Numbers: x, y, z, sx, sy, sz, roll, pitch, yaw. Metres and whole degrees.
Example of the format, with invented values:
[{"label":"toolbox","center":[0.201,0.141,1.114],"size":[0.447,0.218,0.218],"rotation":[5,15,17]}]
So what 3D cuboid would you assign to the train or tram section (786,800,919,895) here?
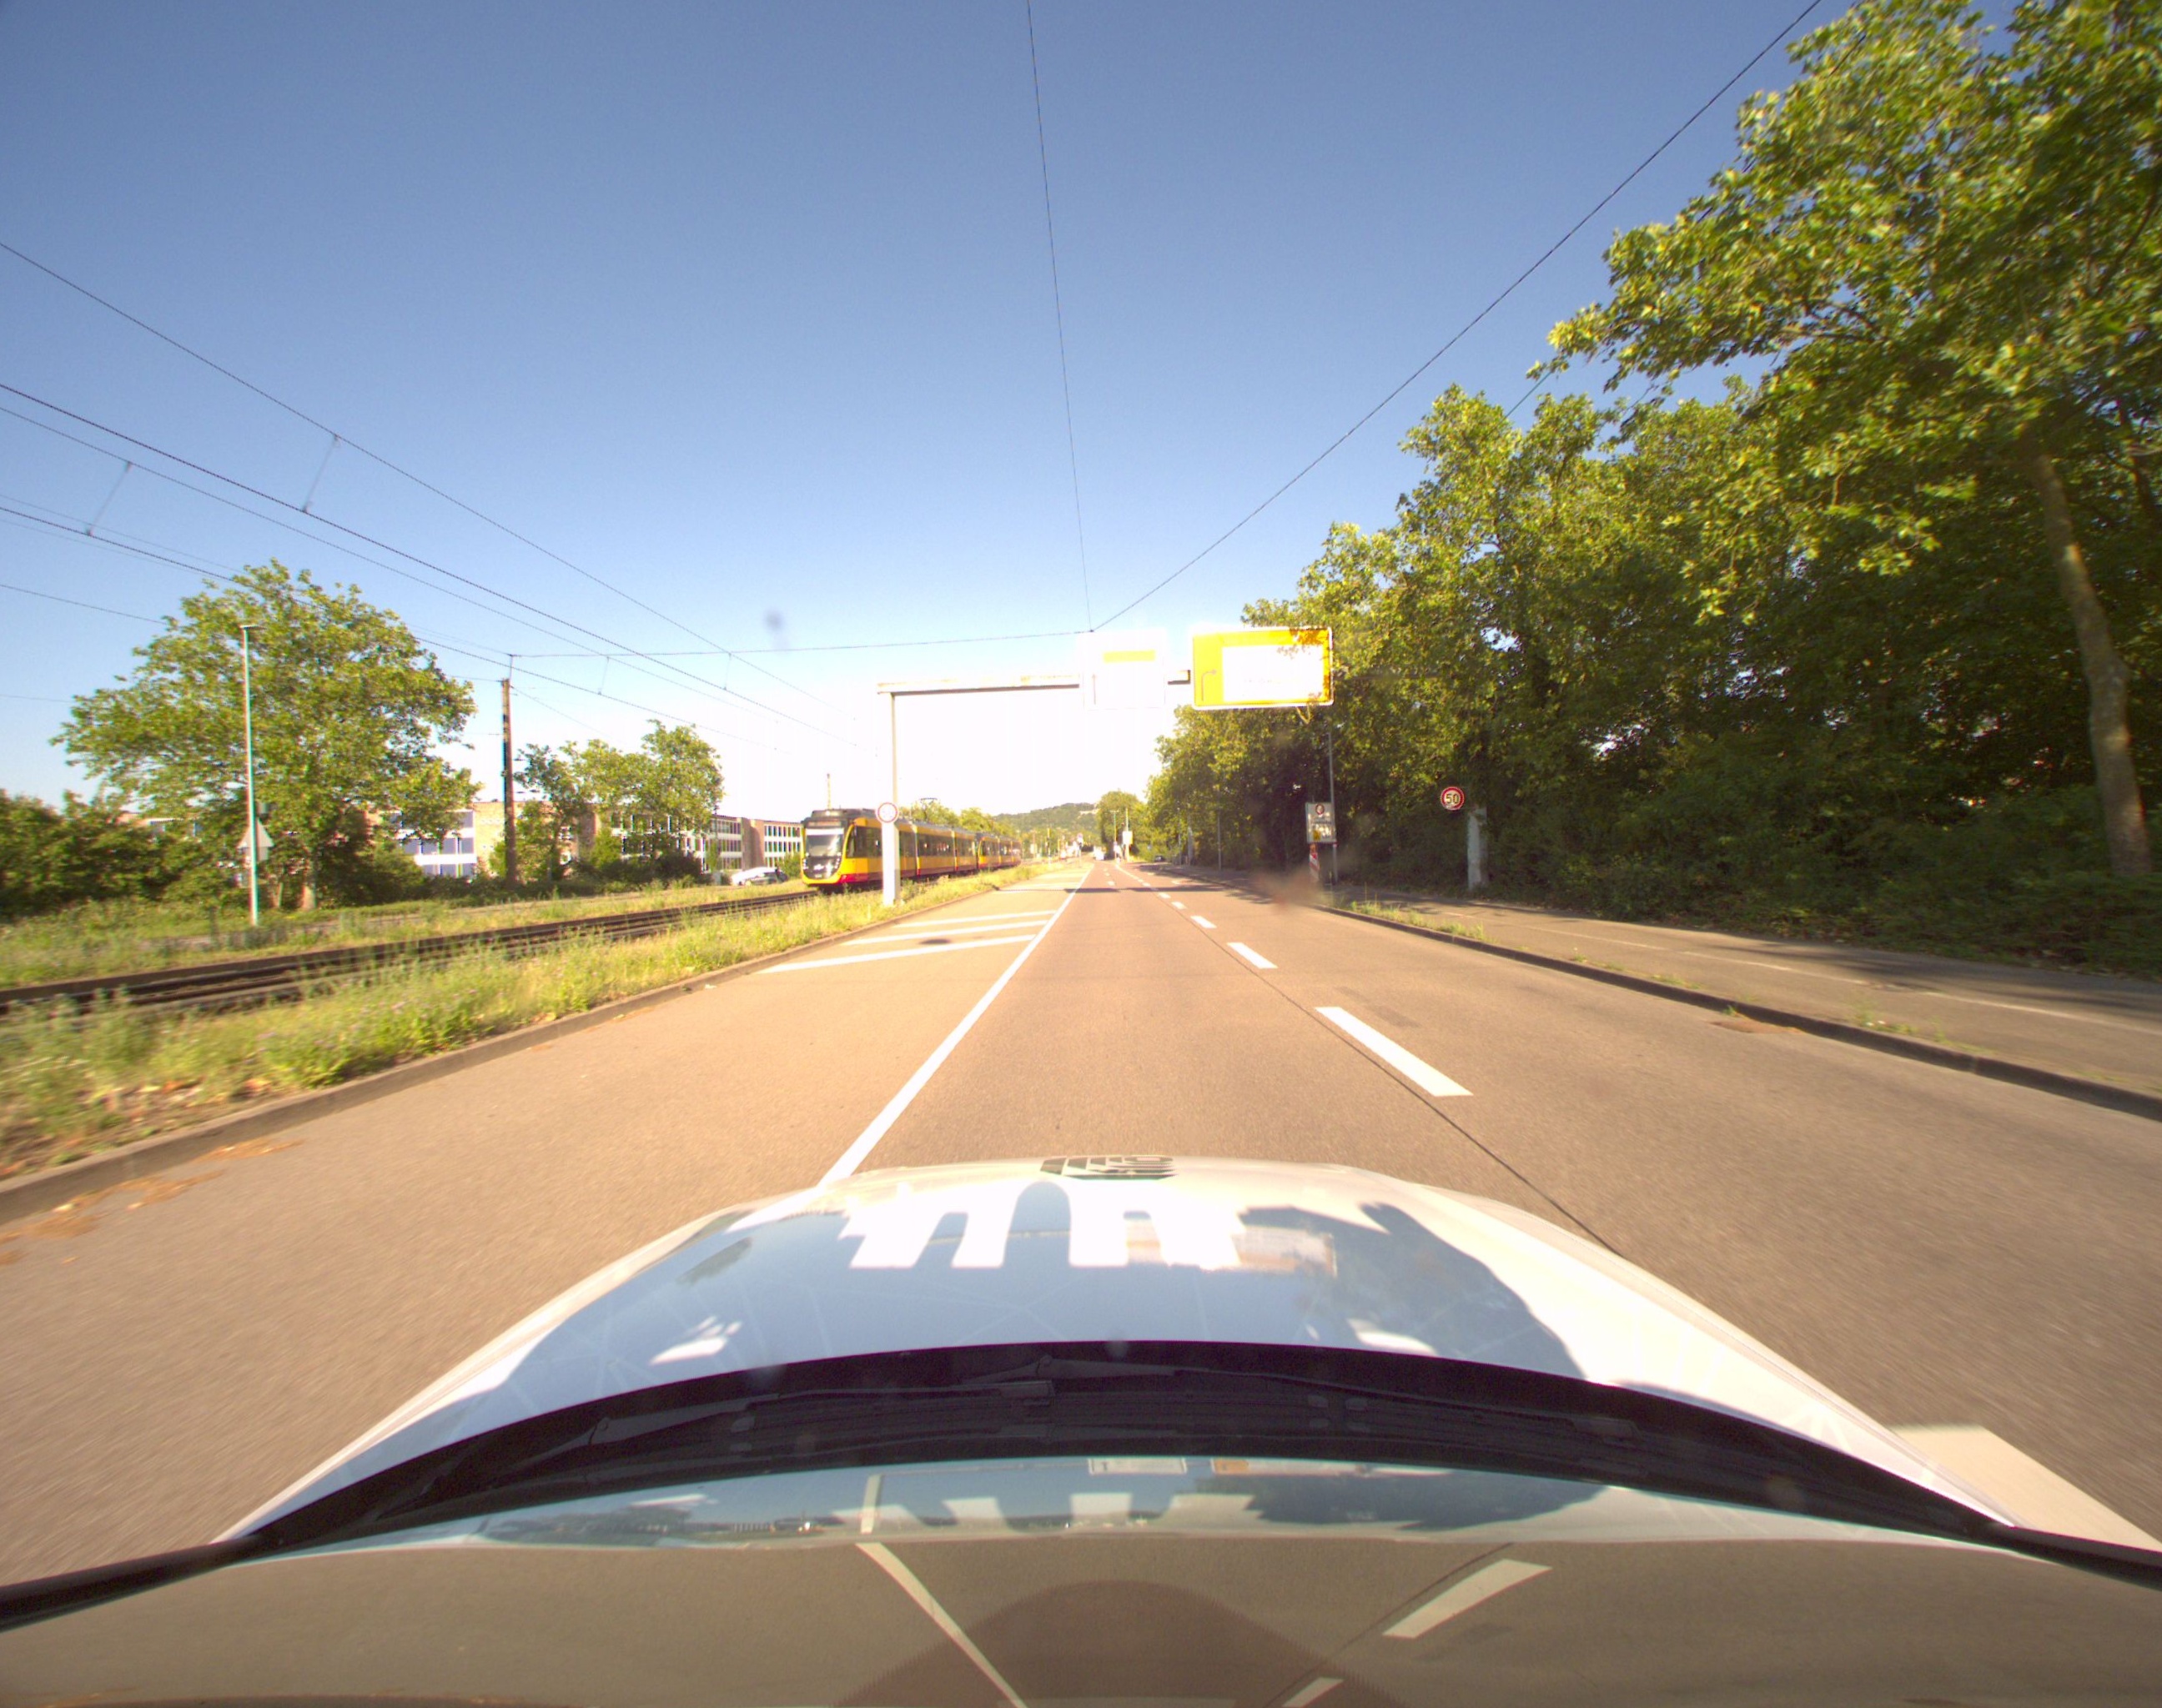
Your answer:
[{"label":"train or tram section","center":[-10.679,-0.241,39.784],"size":[2.794,3.902,12.334],"rotation":[0,0,1]}]

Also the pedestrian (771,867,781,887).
[{"label":"pedestrian","center":[-27.594,2.060,73.714],"size":[0.535,1.821,0.655],"rotation":[-1,-1,23]}]

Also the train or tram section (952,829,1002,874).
[{"label":"train or tram section","center":[-9.798,-0.219,77.955],"size":[2.814,3.950,12.710],"rotation":[0,0,1]}]

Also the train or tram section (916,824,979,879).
[{"label":"train or tram section","center":[-10.238,-0.167,63.843],"size":[2.794,3.902,11.814],"rotation":[0,0,1]}]

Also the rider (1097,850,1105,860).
[{"label":"rider","center":[5.331,0.191,216.246],"size":[2.098,2.647,0.738],"rotation":[-1,0,6]}]

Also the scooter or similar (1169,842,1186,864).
[{"label":"scooter or similar","center":[12.049,-0.133,101.639],"size":[1.675,2.715,4.871],"rotation":[-1,0,2]}]

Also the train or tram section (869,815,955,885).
[{"label":"train or tram section","center":[-10.462,-0.202,51.939],"size":[2.794,3.902,11.992],"rotation":[0,0,1]}]

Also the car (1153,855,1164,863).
[{"label":"car","center":[15.987,0.995,168.573],"size":[2.075,1.566,3.963],"rotation":[-1,0,7]}]

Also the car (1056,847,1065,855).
[{"label":"car","center":[-5.346,-0.882,213.713],"size":[1.986,2.014,4.002],"rotation":[0,0,2]}]

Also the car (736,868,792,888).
[{"label":"car","center":[-31.497,2.374,80.943],"size":[5.147,1.815,1.931],"rotation":[0,0,-26]}]

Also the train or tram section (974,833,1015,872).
[{"label":"train or tram section","center":[-9.486,-0.122,90.668],"size":[2.814,3.950,12.656],"rotation":[0,0,1]}]
